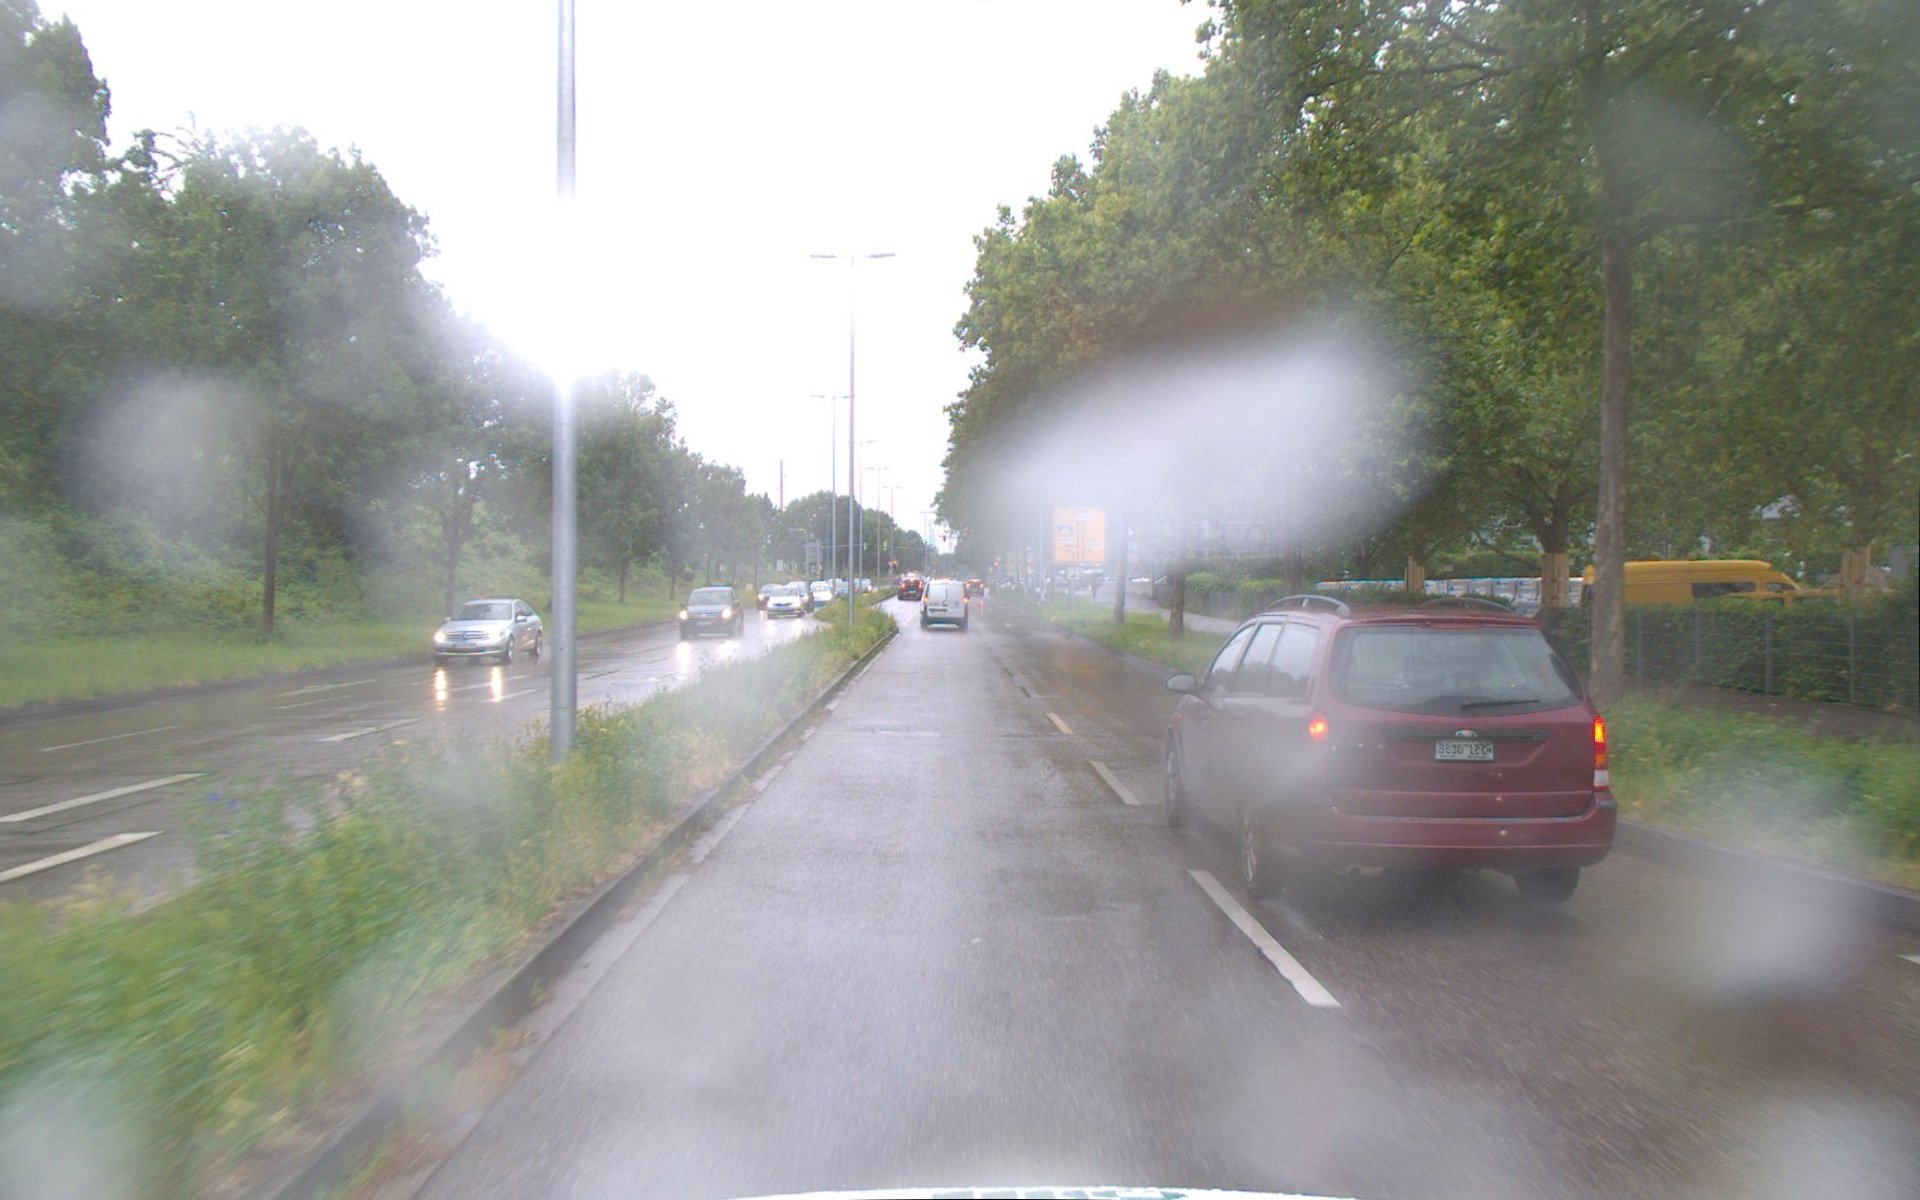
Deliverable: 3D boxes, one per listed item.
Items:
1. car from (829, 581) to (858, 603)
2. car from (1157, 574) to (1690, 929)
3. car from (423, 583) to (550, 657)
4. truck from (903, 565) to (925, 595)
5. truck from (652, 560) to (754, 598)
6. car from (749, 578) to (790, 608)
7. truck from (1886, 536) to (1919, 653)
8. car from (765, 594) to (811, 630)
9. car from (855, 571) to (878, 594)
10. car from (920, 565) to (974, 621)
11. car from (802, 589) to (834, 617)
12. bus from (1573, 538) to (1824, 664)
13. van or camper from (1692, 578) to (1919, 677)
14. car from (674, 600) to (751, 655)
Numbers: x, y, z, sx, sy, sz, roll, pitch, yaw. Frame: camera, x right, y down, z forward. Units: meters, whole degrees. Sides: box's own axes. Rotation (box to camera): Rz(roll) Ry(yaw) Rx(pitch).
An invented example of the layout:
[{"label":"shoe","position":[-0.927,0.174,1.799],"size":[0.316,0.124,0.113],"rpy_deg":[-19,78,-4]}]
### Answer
[{"label":"car","position":[-9.051,-0.655,128.364],"size":[1.870,1.601,4.709],"rpy_deg":[-3,1,0]},{"label":"car","position":[2.336,0.670,9.502],"size":[1.802,1.563,4.110],"rpy_deg":[1,0,-1]},{"label":"car","position":[-11.220,0.431,39.525],"size":[1.860,1.641,4.476],"rpy_deg":[-1,0,-2]},{"label":"truck","position":[-3.900,-1.694,139.910],"size":[1.721,2.509,3.999],"rpy_deg":[1,0,-2]},{"label":"truck","position":[-25.593,-2.048,165.295],"size":[10.035,3.512,2.623],"rpy_deg":[1,-1,-38]},{"label":"car","position":[-11.753,-0.464,102.247],"size":[1.953,1.717,4.709],"rpy_deg":[-1,1,0]},{"label":"truck","position":[29.508,-0.059,46.065],"size":[9.399,3.085,3.041],"rpy_deg":[1,-1,-37]},{"label":"car","position":[-8.248,0.555,79.673],"size":[1.860,1.641,4.110],"rpy_deg":[-1,0,-1]},{"label":"car","position":[-8.776,-1.682,155.988],"size":[1.787,1.600,4.363],"rpy_deg":[6,6,-1]},{"label":"car","position":[-0.526,-0.226,62.824],"size":[1.953,2.049,3.998],"rpy_deg":[1,-1,-2]},{"label":"car","position":[-8.767,0.182,102.155],"size":[1.872,1.601,4.703],"rpy_deg":[-2,1,-5]},{"label":"bus","position":[16.392,0.015,36.895],"size":[4.694,2.693,2.000],"rpy_deg":[1,0,0]},{"label":"van or camper","position":[17.360,0.543,33.891],"size":[3.909,1.940,1.800],"rpy_deg":[1,1,-5]},{"label":"car","position":[-8.164,0.878,54.877],"size":[1.859,1.641,4.112],"rpy_deg":[-2,0,0]}]
